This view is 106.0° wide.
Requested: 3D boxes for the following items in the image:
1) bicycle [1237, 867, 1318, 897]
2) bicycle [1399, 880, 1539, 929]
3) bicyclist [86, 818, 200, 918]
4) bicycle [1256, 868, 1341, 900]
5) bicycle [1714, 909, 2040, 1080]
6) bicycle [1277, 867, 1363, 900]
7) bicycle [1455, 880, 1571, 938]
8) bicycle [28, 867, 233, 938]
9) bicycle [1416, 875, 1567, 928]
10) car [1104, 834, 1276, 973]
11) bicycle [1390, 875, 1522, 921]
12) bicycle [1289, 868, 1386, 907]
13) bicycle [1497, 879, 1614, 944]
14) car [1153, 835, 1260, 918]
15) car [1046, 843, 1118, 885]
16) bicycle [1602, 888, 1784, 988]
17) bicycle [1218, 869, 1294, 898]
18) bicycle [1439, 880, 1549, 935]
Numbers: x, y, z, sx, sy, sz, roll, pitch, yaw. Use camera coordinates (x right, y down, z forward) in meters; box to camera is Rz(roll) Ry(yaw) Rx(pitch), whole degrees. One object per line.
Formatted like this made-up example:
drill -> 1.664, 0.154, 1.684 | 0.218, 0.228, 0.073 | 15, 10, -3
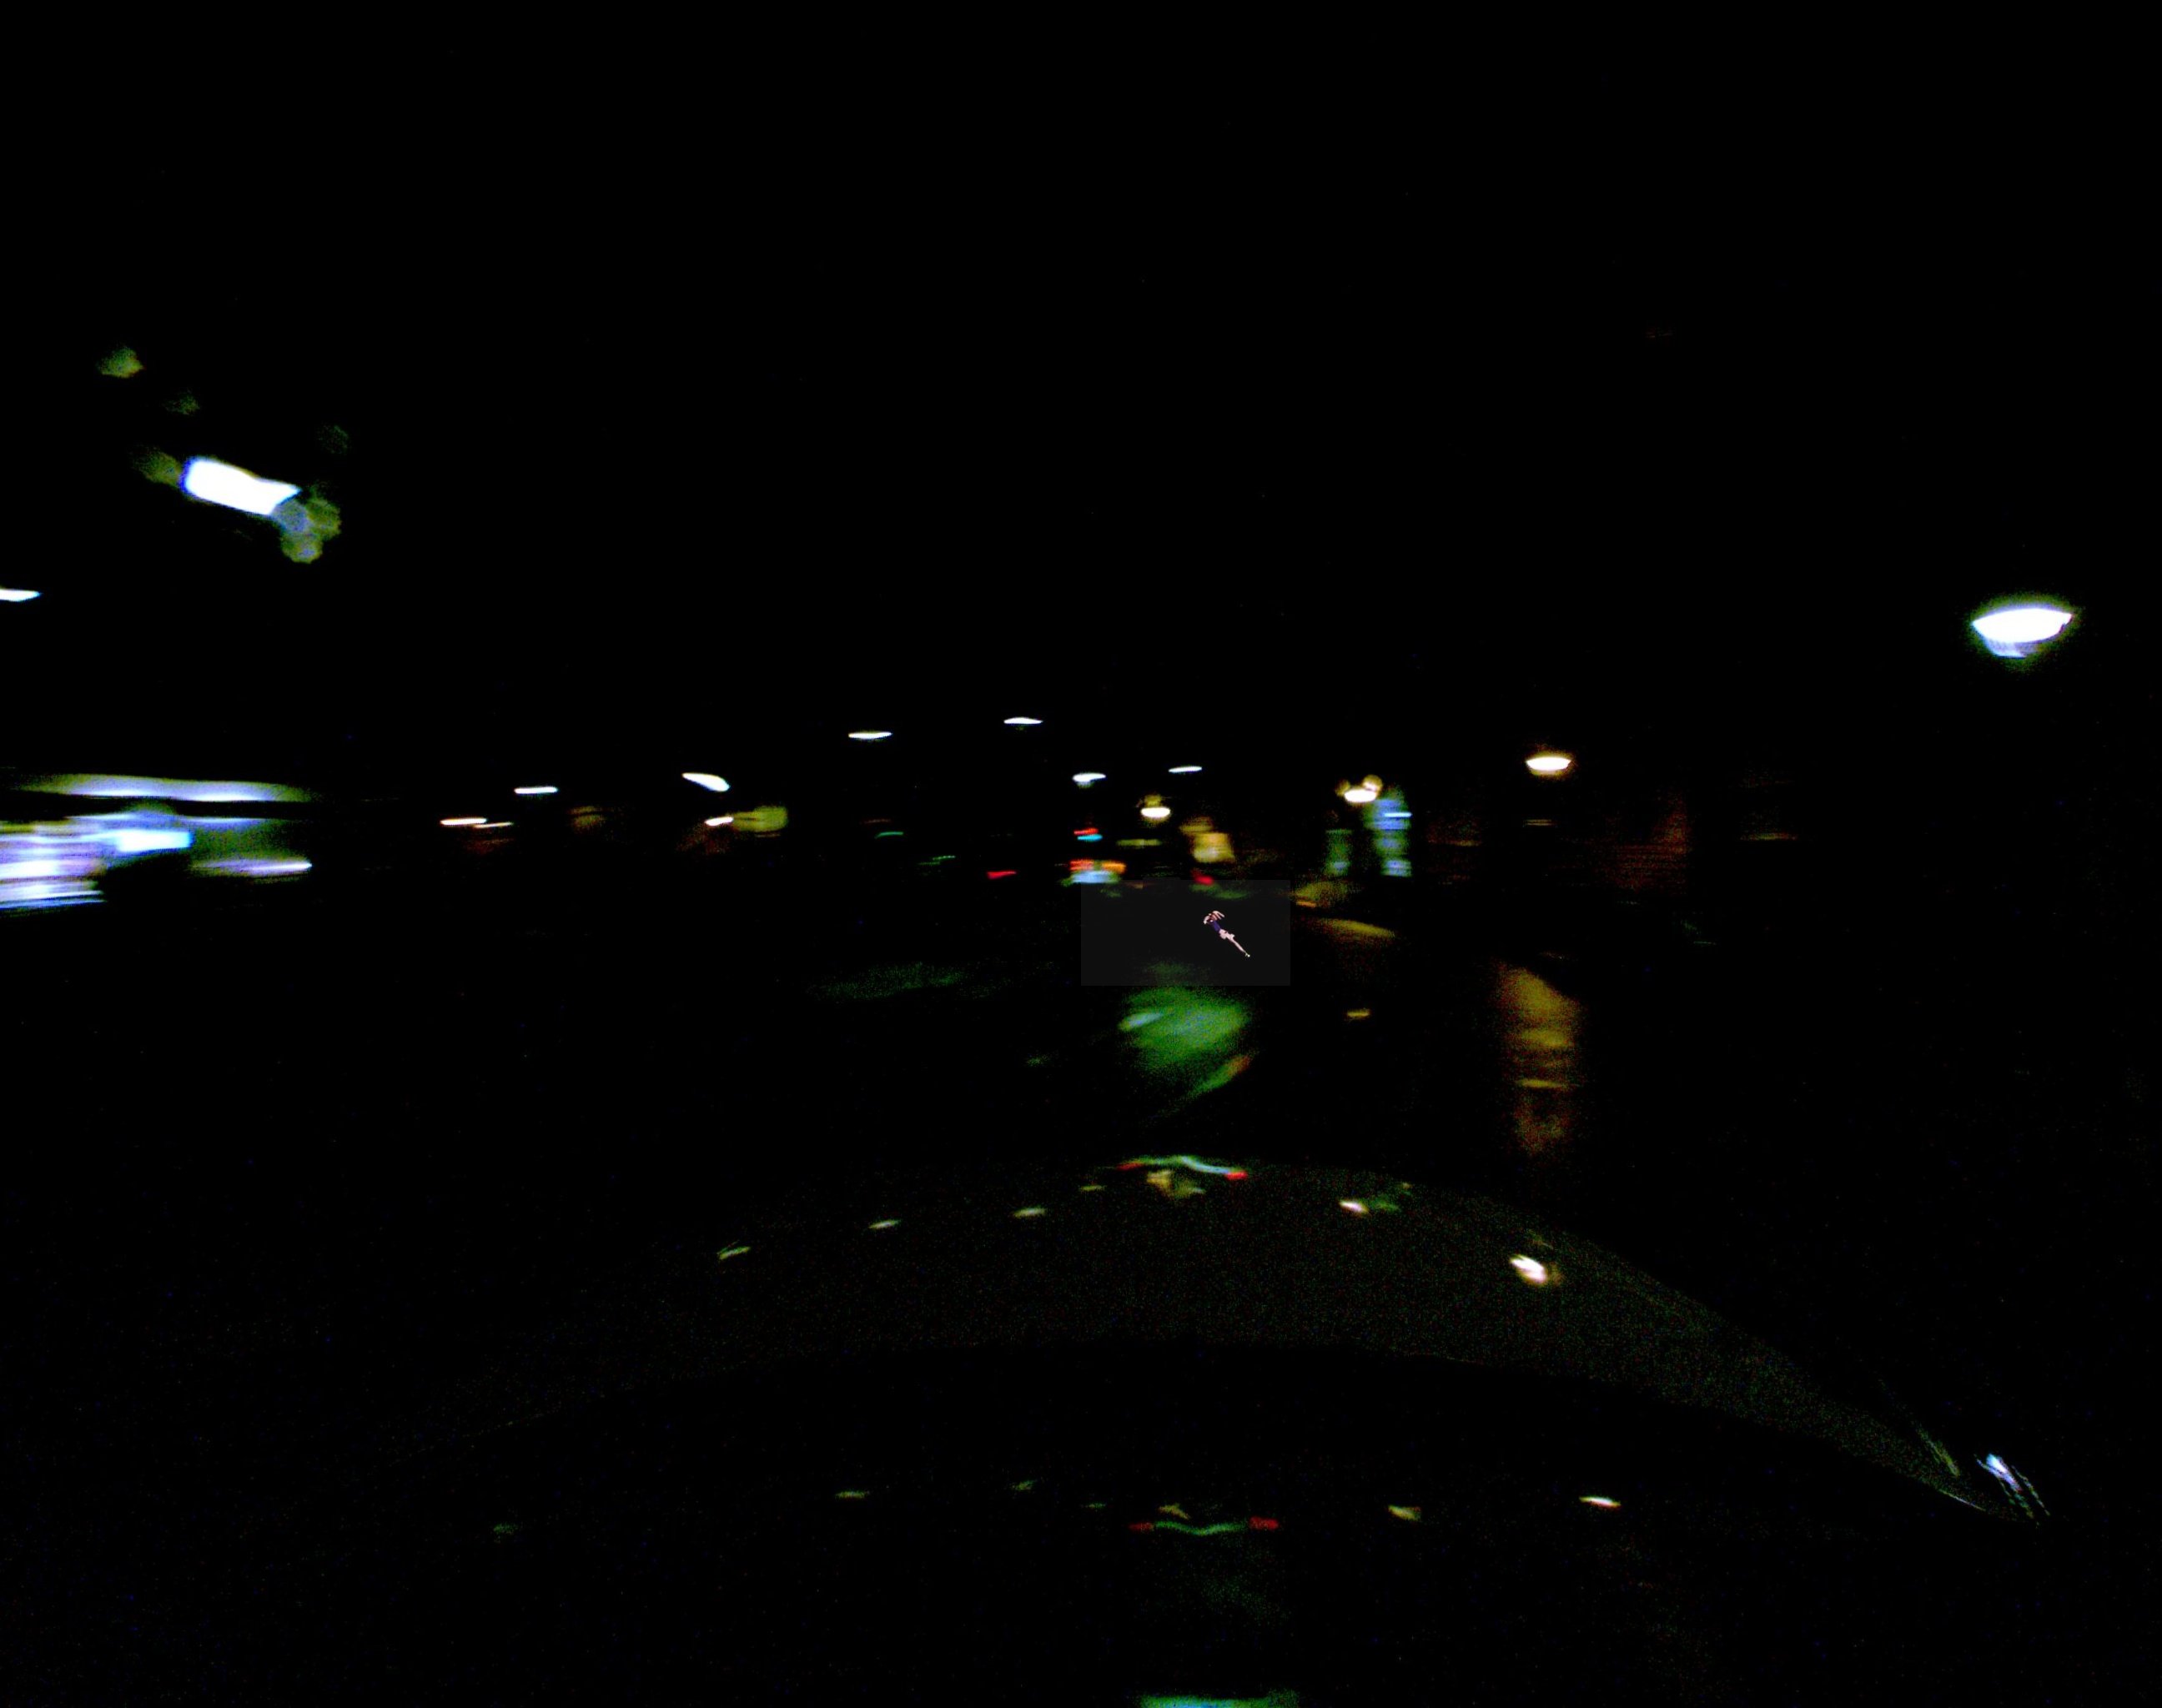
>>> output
bicycle -> 6.944, 0.965, 28.748 | 2.771, 1.026, 0.721 | 0, 0, -15
bicycle -> 8.668, 1.120, 18.276 | 2.751, 1.026, 0.727 | 0, 0, 8
bicyclist -> -13.486, 0.203, 11.727 | 0.499, 1.380, 0.899 | 1, -2, 24
bicycle -> 7.314, 1.007, 27.389 | 2.771, 1.026, 0.721 | 0, 0, -15
bicycle -> 5.498, 0.942, 5.706 | 1.647, 1.059, 0.452 | 0, 0, 13
bicycle -> 7.672, 0.924, 26.144 | 2.776, 1.026, 0.720 | 0, 0, -20
bicycle -> 8.221, 1.032, 15.549 | 1.919, 1.059, 0.452 | 0, 0, 8
bicycle -> -13.517, 0.678, 11.660 | 0.493, 0.932, 1.794 | 1, -2, 24
bicycle -> 8.535, 0.972, 17.045 | 2.751, 1.026, 0.727 | 0, 0, 8
car -> 1.683, 0.638, 11.445 | 1.717, 1.614, 3.477 | 1, -2, 19
bicycle -> 8.767, 1.019, 19.136 | 2.751, 1.026, 0.727 | 0, 0, 8
bicycle -> 7.726, 0.999, 24.634 | 2.751, 1.129, 0.727 | 0, 0, 8
bicycle -> 8.231, 0.980, 14.173 | 1.718, 1.059, 0.452 | 0, 0, 13
car -> 2.852, 0.545, 19.332 | 1.986, 1.728, 4.000 | 1, -2, 1
car -> -0.035, 0.470, 36.028 | 1.999, 1.728, 3.975 | 2, -2, -18
bicycle -> 7.023, 0.944, 9.400 | 1.647, 1.059, 0.452 | 0, 0, 13
bicycle -> 6.492, 1.082, 30.212 | 2.771, 1.026, 0.721 | 0, 0, -15
bicycle -> 8.256, 1.058, 16.323 | 1.919, 1.059, 0.452 | 0, 0, 8
